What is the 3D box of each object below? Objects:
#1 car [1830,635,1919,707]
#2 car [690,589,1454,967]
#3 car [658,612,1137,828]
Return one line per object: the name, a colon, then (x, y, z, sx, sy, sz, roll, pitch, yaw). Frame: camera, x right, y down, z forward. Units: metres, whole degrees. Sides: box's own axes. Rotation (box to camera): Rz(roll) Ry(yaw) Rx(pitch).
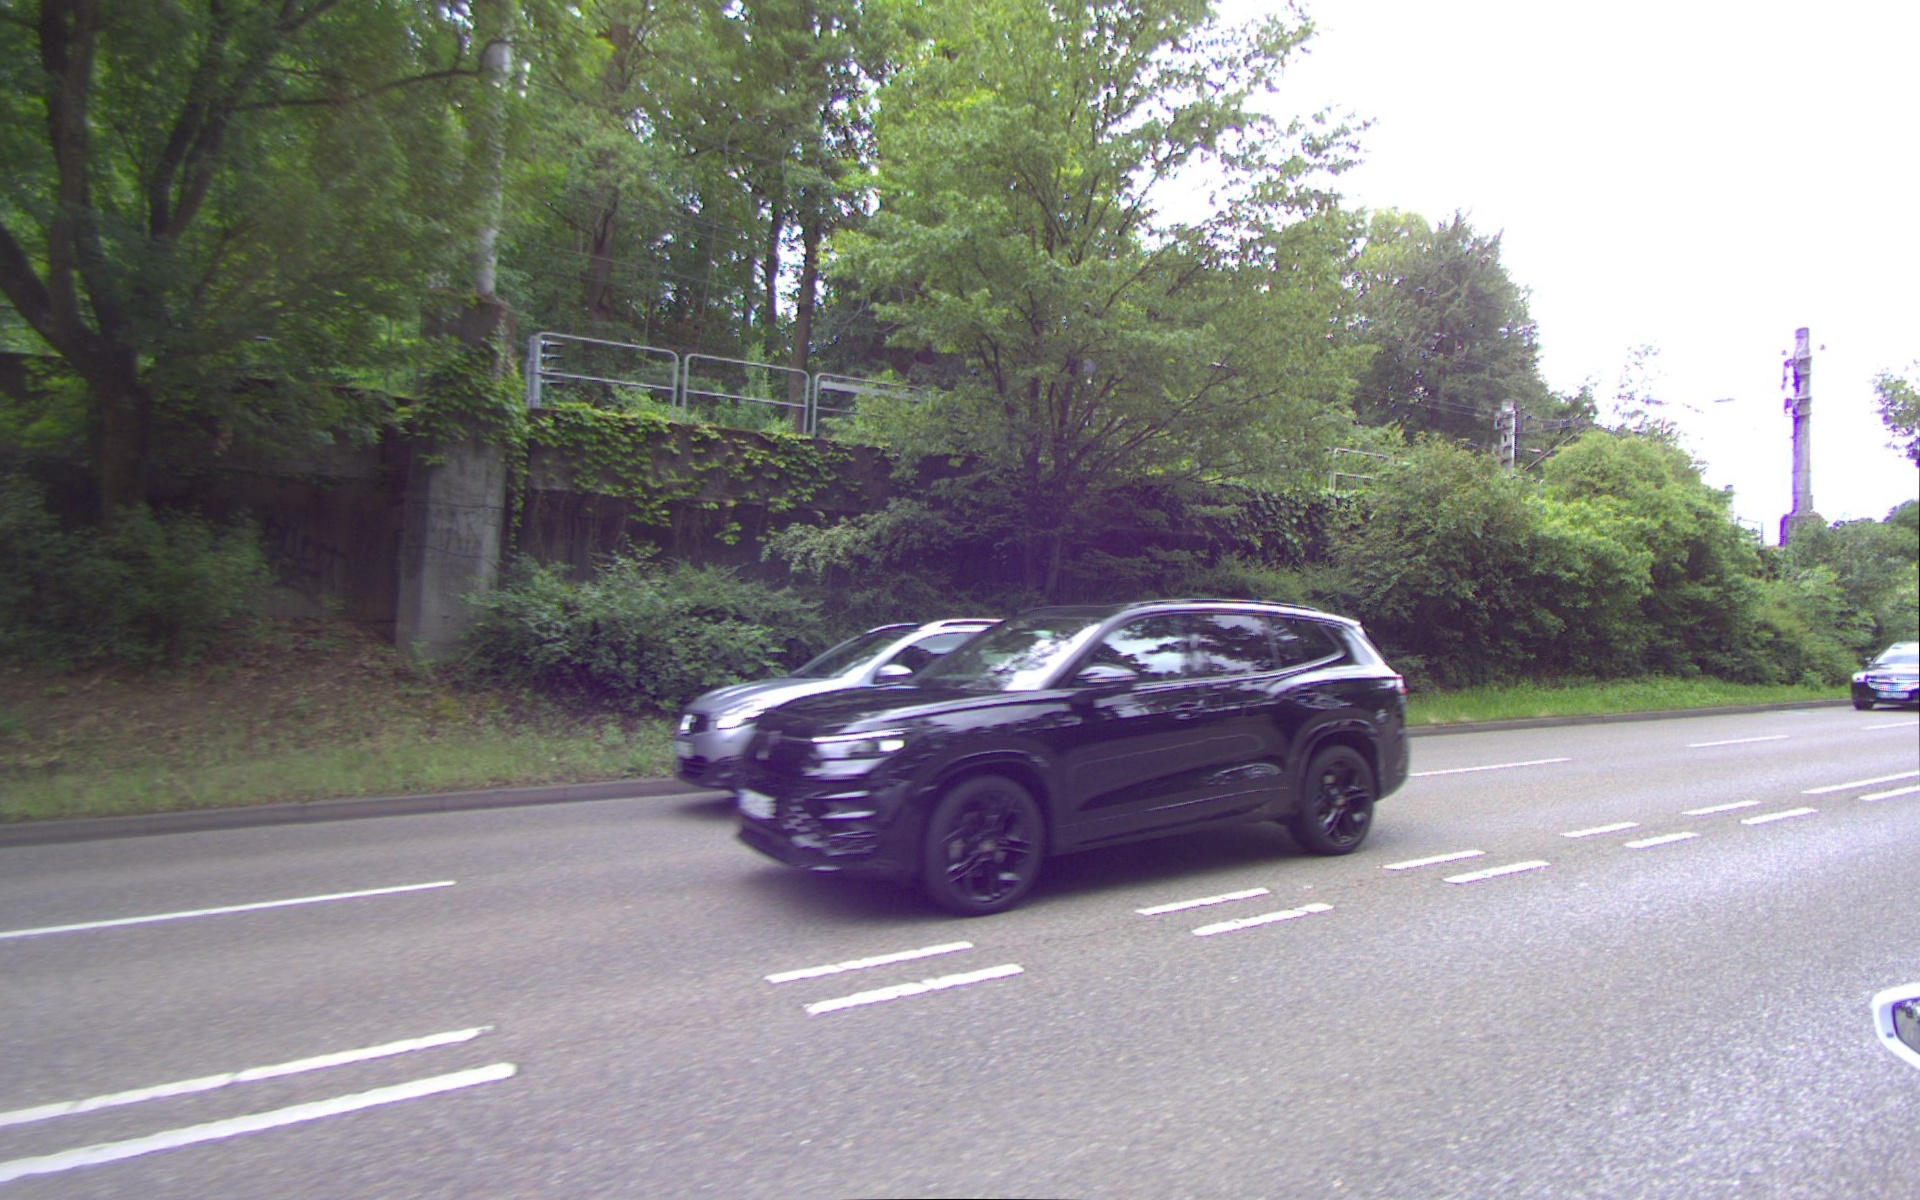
car: (21.527, 1.532, 22.358, 4.476, 1.487, 1.905, 1, -3, -30)
car: (0.873, 0.856, 6.489, 4.773, 1.683, 1.802, 1, -3, -30)
car: (-0.529, 1.001, 9.422, 4.139, 1.632, 1.784, 2, -3, -29)
